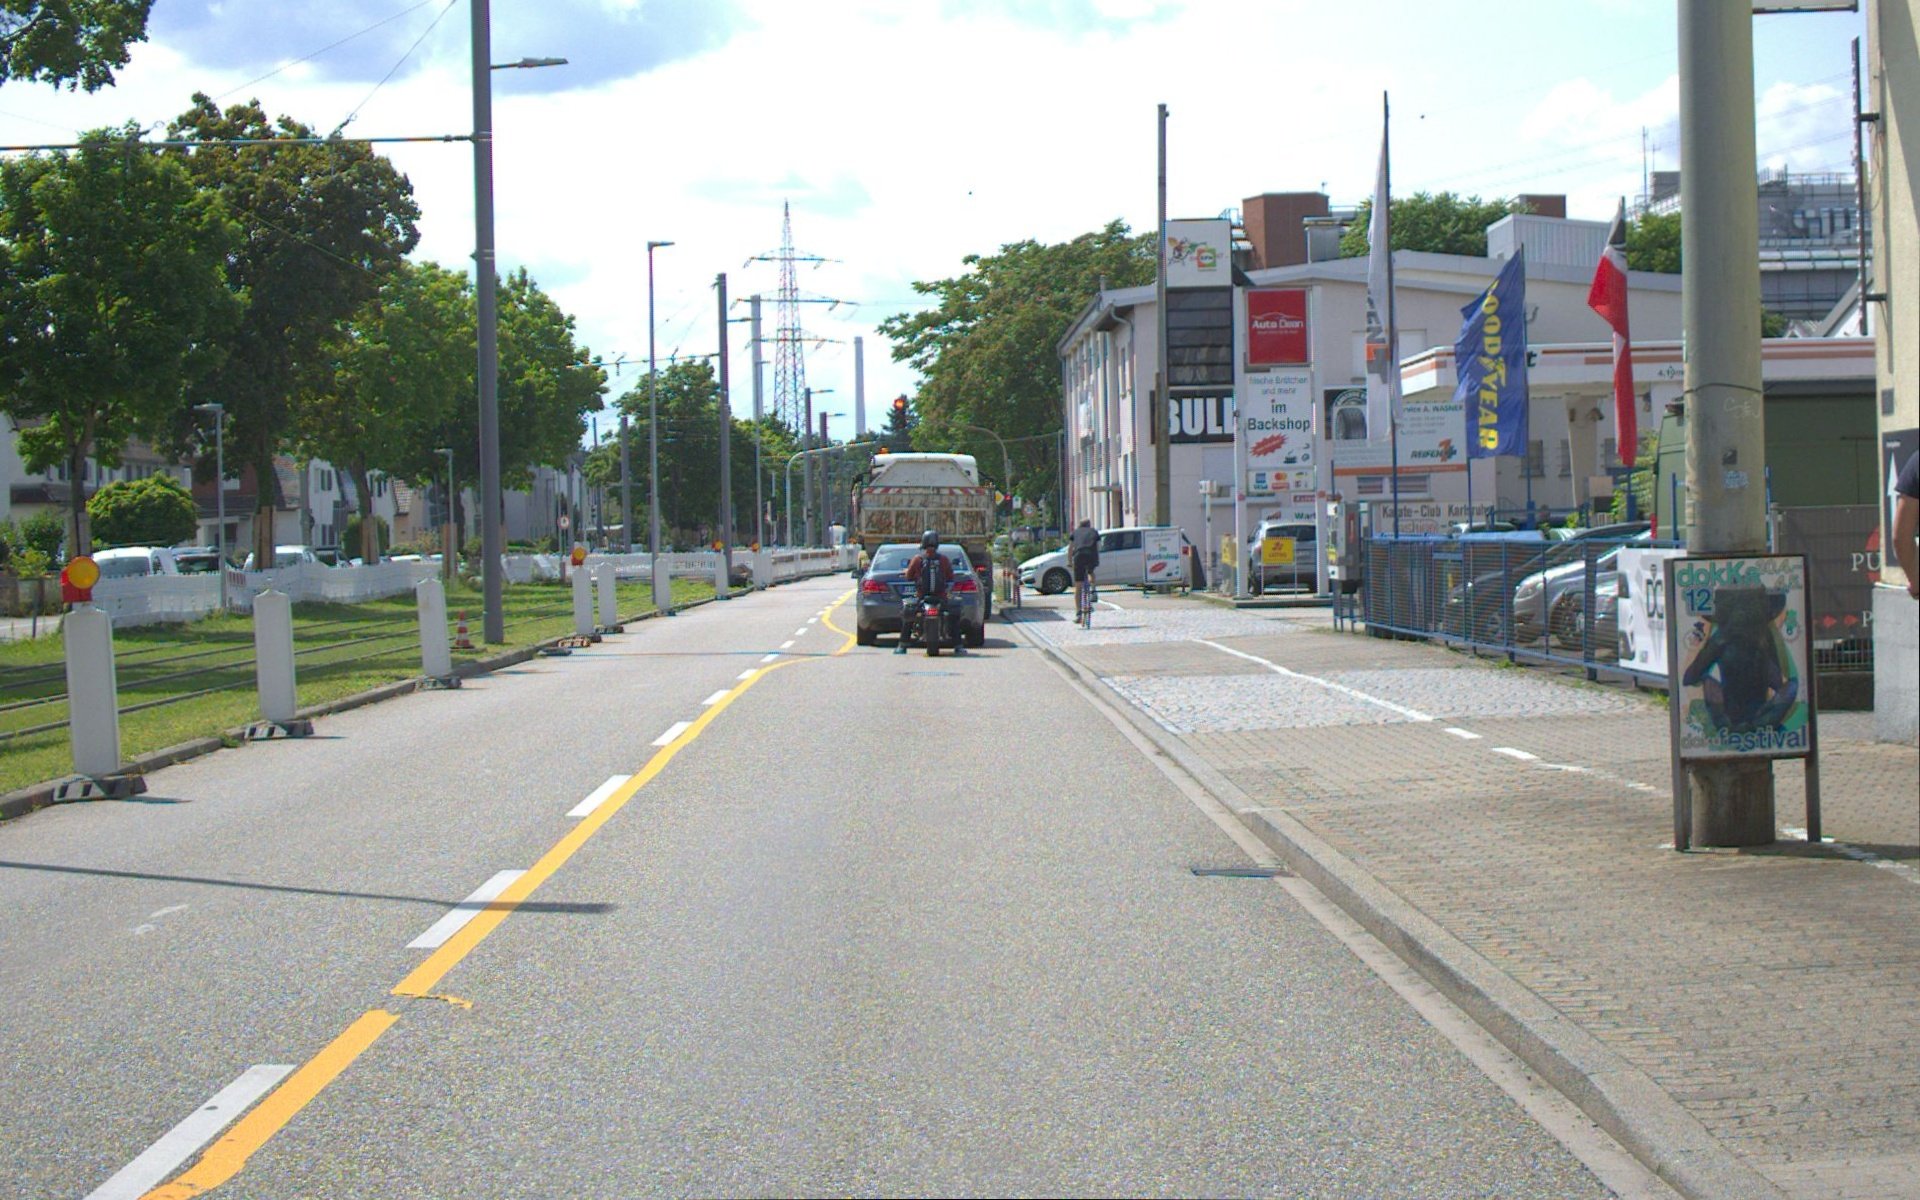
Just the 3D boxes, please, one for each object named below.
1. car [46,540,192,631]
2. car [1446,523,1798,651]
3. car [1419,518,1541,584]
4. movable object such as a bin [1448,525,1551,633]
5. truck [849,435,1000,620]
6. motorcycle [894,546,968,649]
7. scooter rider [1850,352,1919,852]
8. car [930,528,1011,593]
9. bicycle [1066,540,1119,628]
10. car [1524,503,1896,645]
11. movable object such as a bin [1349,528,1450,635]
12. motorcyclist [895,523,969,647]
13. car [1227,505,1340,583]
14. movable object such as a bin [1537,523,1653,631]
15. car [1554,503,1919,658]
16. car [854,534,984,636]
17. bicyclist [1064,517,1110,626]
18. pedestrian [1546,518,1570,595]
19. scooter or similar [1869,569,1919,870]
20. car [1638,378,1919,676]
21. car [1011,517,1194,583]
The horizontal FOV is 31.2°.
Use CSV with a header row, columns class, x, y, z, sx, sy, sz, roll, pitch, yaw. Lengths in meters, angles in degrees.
class,x,y,z,sx,sy,sz,roll,pitch,yaw
car,-17.164,-0.314,70.344,1.993,1.744,4.000,-2,1,0
car,8.021,-0.159,41.599,3.990,1.438,1.709,-1,1,17
car,11.743,-1.098,77.870,1.959,1.415,4.000,-2,1,-2
movable object such as a bin,7.480,-0.291,47.686,1.256,1.439,0.824,-2,0,0
truck,-0.623,-1.476,66.546,2.610,3.244,9.183,-2,2,0
motorcycle,-0.383,-0.053,45.896,0.939,1.316,2.645,1,1,0
scooter rider,4.071,-0.025,13.788,0.717,1.956,0.785,-3,3,1
car,0.248,-0.937,79.559,1.821,1.459,4.000,0,1,0
bicycle,2.118,-0.271,55.259,0.693,1.357,2.419,-1,1,-1
car,8.478,-0.292,38.813,3.990,1.491,1.749,-1,1,15
movable object such as a bin,6.103,-0.263,47.797,1.256,1.439,0.824,-2,0,0
motorcyclist,-0.376,-0.203,45.712,0.939,1.609,1.205,1,1,0
car,7.230,-1.243,77.152,1.959,1.643,4.000,-2,1,-2
movable object such as a bin,8.807,-0.322,47.712,1.320,1.439,0.955,-2,0,-7
car,8.058,-0.205,33.982,4.184,1.426,1.820,-1,1,7
car,-0.594,-0.253,50.368,1.821,1.419,4.000,0,1,0
bicyclist,2.041,-0.464,55.245,0.671,1.738,0.813,-1,1,-1
pedestrian,13.178,-0.953,75.815,0.396,1.683,0.485,-2,0,1
scooter or similar,4.072,0.472,13.429,0.540,1.191,1.611,-3,0,-1
car,8.637,-0.679,31.151,4.537,2.564,2.151,-1,1,2
car,3.616,-1.275,87.809,4.329,1.546,1.950,-2,0,-8
